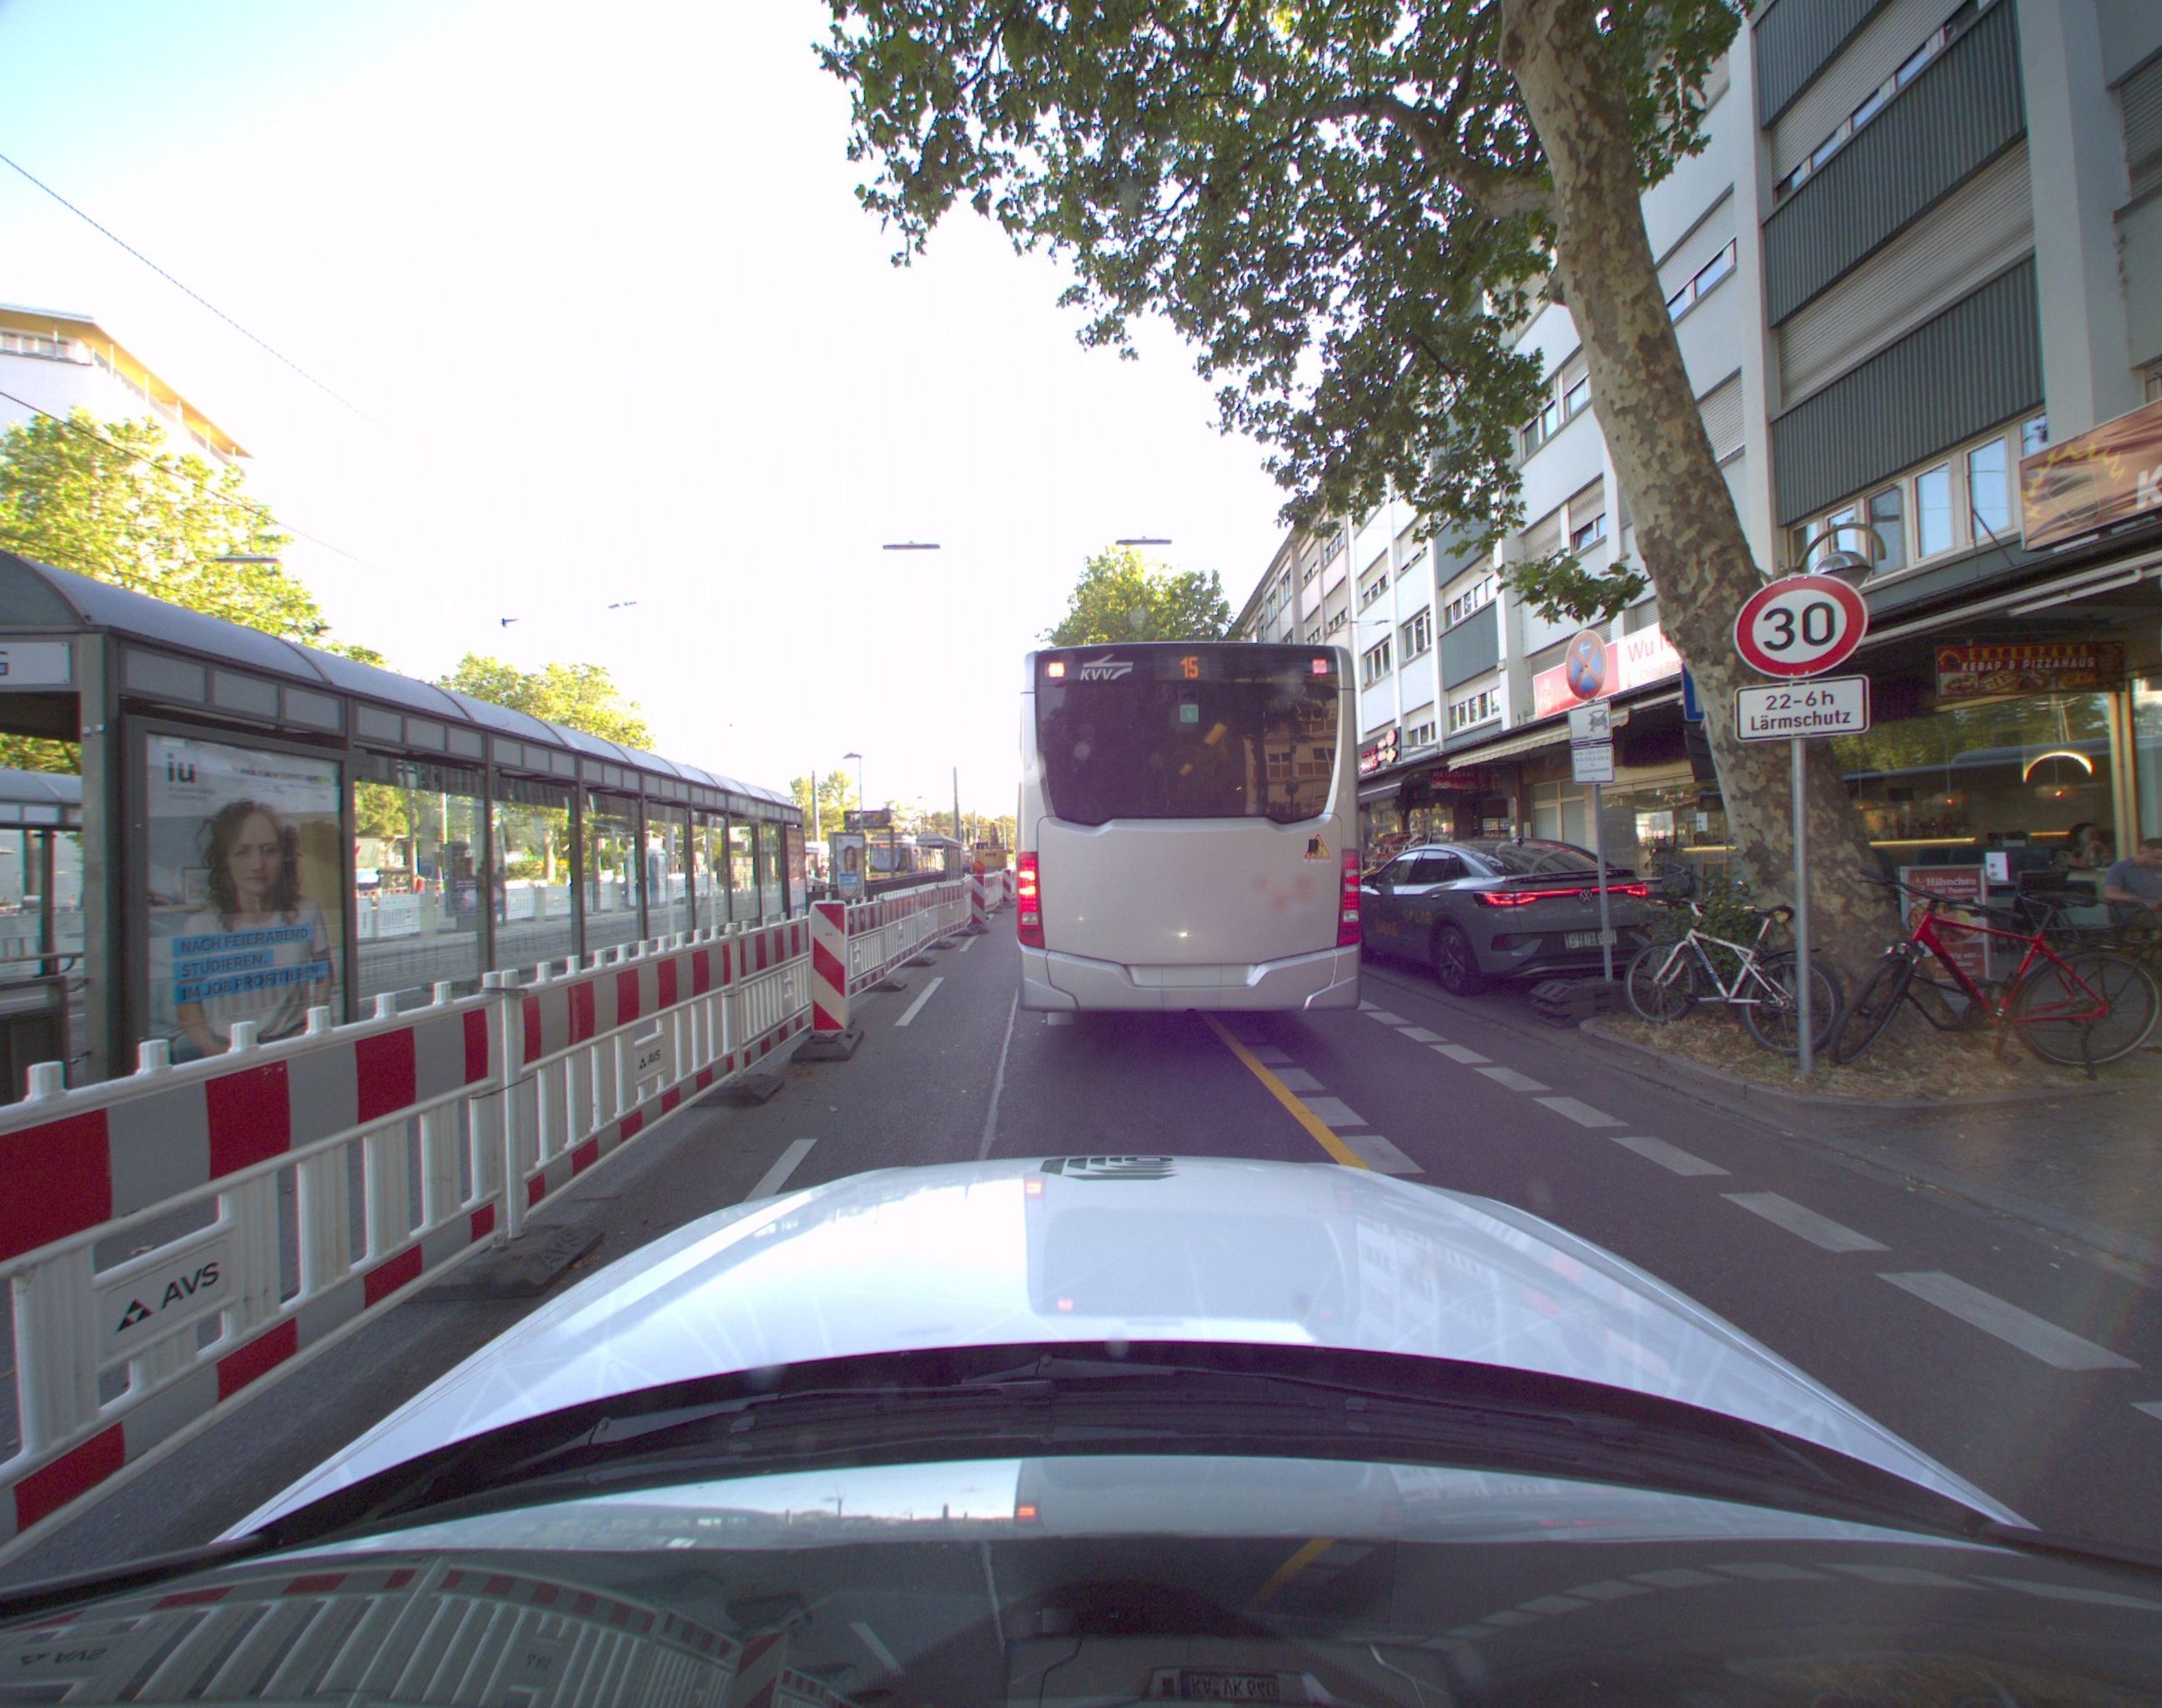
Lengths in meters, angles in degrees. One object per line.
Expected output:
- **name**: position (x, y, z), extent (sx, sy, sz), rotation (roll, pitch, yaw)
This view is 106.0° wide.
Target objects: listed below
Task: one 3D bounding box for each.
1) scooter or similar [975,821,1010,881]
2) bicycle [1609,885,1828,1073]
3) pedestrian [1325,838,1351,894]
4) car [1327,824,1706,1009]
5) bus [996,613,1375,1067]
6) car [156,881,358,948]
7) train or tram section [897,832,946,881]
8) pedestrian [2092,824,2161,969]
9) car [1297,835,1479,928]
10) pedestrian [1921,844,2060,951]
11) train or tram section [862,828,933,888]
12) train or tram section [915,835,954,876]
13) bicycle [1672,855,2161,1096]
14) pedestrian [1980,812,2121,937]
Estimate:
- **scooter or similar**: position (-6.977, -0.220, 64.763), extent (2.465, 4.471, 5.961), rotation (-2, -1, -5)
- **bicycle**: position (4.573, 0.834, 5.973), extent (0.550, 1.155, 1.446), rotation (-2, -1, 6)
- **pedestrian**: position (7.913, 0.369, 25.100), extent (0.658, 1.666, 0.603), rotation (-4, -1, 18)
- **car**: position (4.739, 0.576, 9.779), extent (1.989, 1.582, 4.364), rotation (-4, 0, -3)
- **bus**: position (0.850, -0.071, 9.629), extent (2.601, 3.126, 7.996), rotation (0, 0, 2)
- **car**: position (-24.370, 1.724, 24.336), extent (1.988, 1.662, 3.997), rotation (-2, 0, -1)
- **train or tram section**: position (-12.625, 0.221, 65.246), extent (2.682, 3.558, 11.559), rotation (0, -1, -5)
- **pedestrian**: position (9.689, 0.362, 7.208), extent (0.555, 1.245, 0.692), rotation (-4, 0, 8)
- **car**: position (6.321, 0.509, 17.385), extent (1.989, 1.582, 4.364), rotation (-4, 0, -3)
- **pedestrian**: position (9.860, 0.451, 8.839), extent (0.643, 1.081, 0.945), rotation (-2, -1, -39)
- **train or tram section**: position (-11.817, 0.275, 53.595), extent (2.681, 3.534, 11.756), rotation (0, -1, -3)
- **train or tram section**: position (-13.693, 0.207, 76.700), extent (2.683, 3.533, 11.558), rotation (0, -1, -6)
- **bicycle**: position (5.056, 0.720, 4.831), extent (2.370, 1.155, 0.557), rotation (-7, -2, 14)
- **pedestrian**: position (11.100, 0.225, 9.345), extent (0.836, 1.333, 0.963), rotation (-2, -1, -39)
